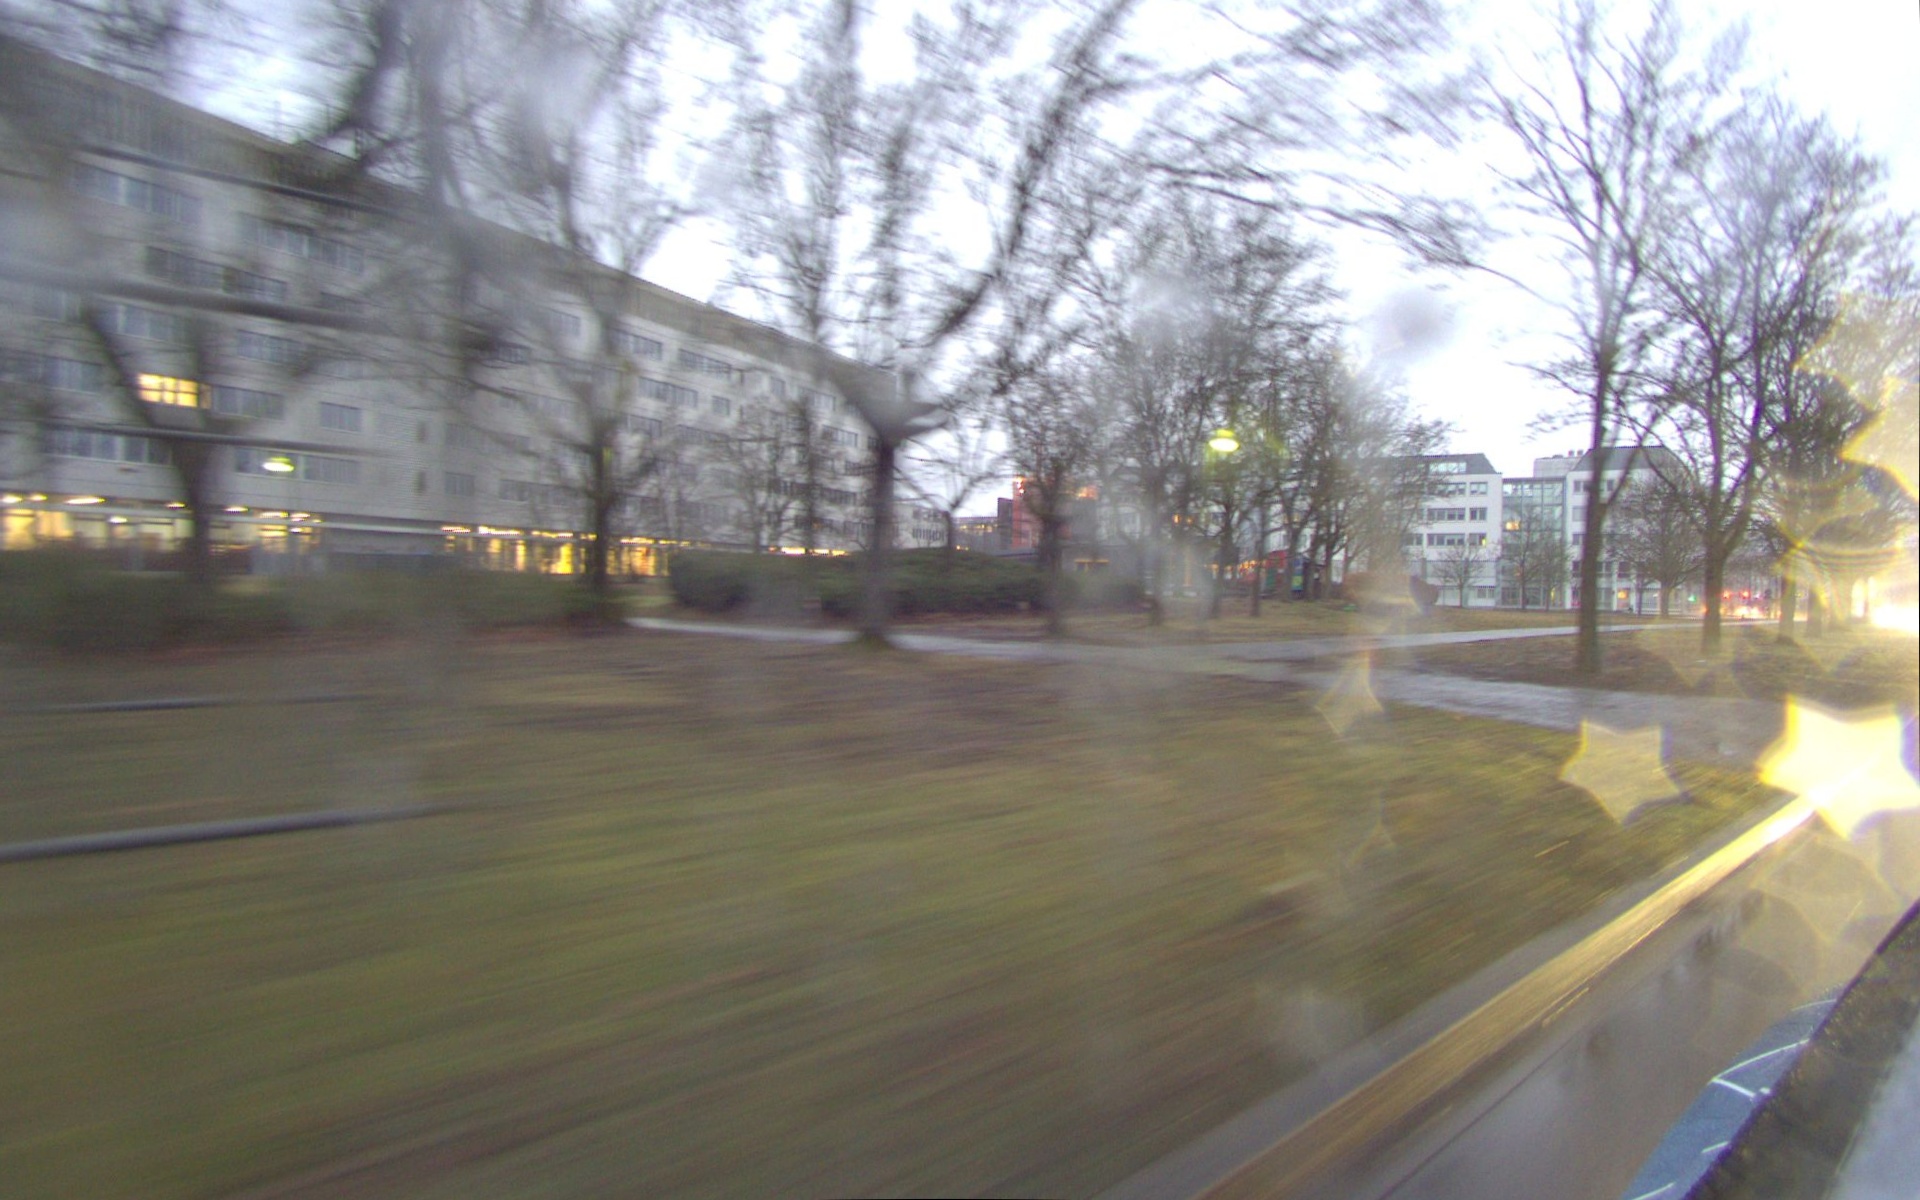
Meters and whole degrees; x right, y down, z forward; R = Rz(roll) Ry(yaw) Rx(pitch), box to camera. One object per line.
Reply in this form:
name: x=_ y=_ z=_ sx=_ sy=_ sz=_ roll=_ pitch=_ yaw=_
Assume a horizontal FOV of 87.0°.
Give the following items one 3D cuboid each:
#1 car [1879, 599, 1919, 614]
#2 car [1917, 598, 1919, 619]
car: x=90.902 y=0.571 z=97.932 sx=1.982 sy=1.340 sz=3.960 roll=2 pitch=1 yaw=29
car: x=73.207 y=0.645 z=75.688 sx=1.940 sy=1.575 sz=4.159 roll=-1 pitch=-1 yaw=38
